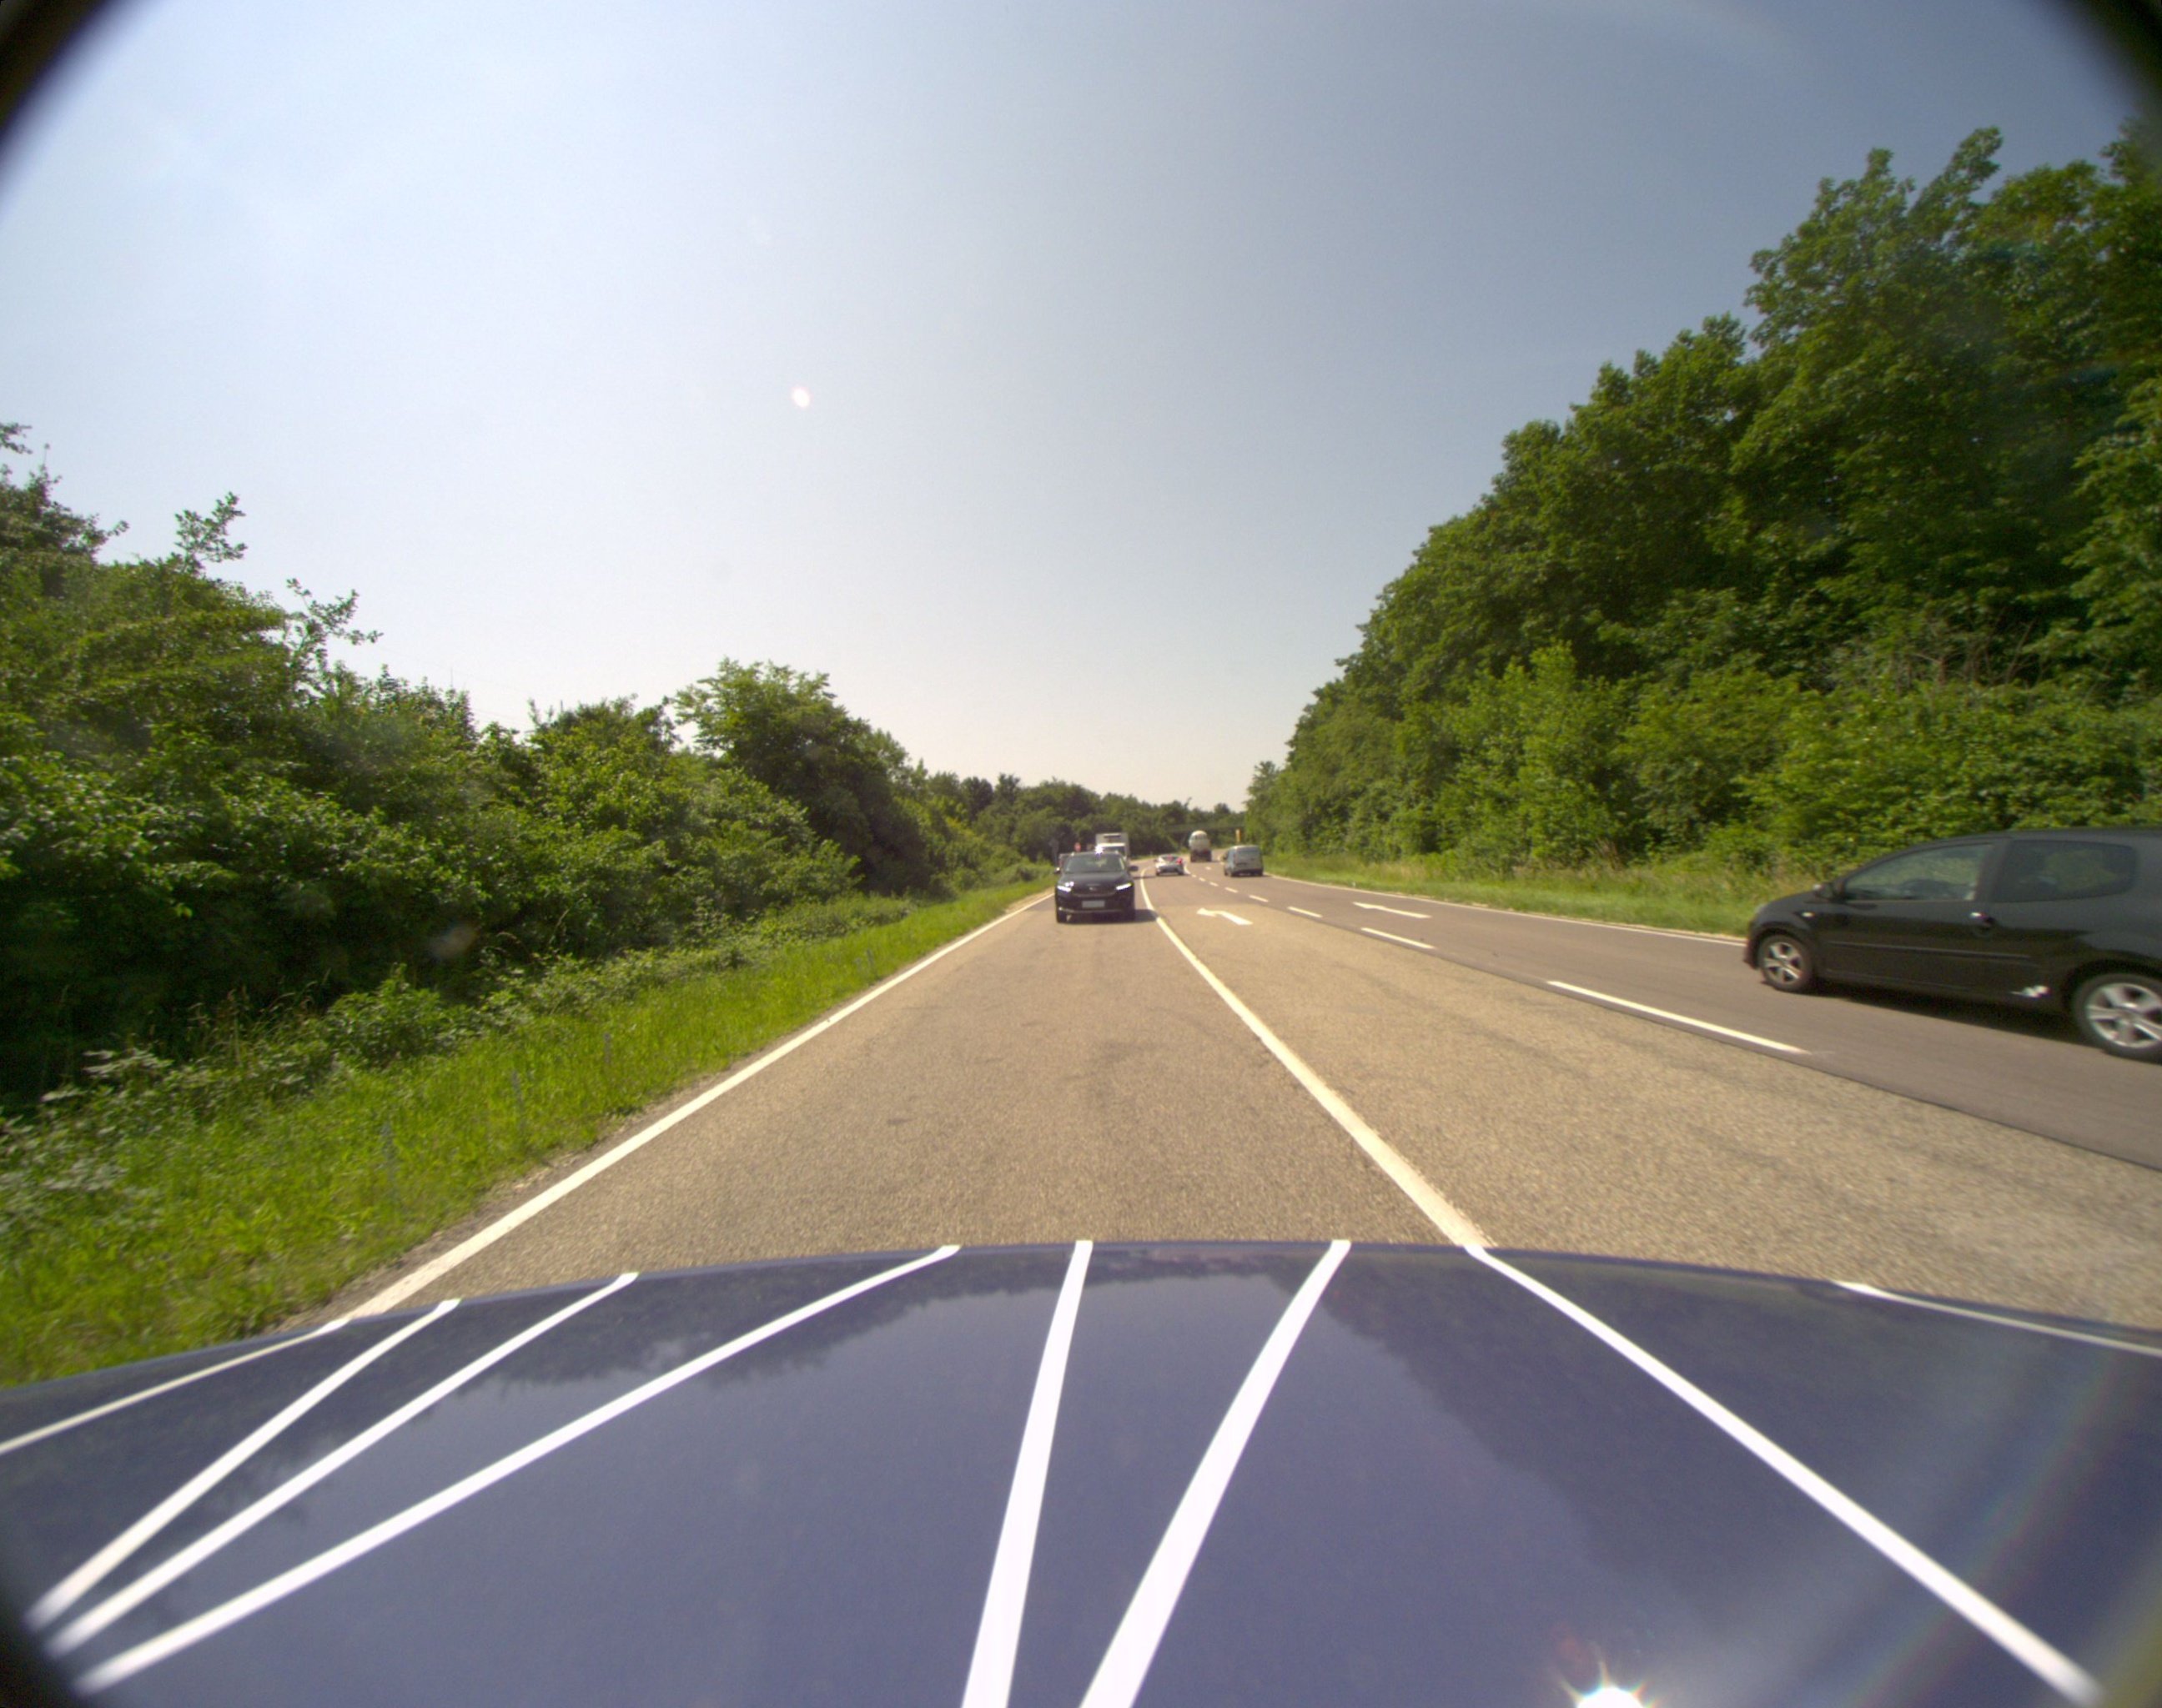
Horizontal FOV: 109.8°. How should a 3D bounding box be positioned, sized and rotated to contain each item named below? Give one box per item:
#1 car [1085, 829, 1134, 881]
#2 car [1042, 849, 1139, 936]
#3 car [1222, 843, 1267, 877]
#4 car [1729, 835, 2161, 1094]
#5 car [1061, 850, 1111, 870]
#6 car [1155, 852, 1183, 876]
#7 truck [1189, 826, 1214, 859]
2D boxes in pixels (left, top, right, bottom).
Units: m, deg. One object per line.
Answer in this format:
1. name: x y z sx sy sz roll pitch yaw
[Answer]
1. car: 1.982 -0.023 49.268 2.590 3.047 6.883 -2 1 6
2. car: 0.285 0.802 18.298 1.924 1.711 5.479 -3 0 2
3. car: 9.544 0.325 44.730 1.846 1.769 4.895 -2 0 4
4. car: 7.209 0.641 5.737 1.618 1.493 3.552 -2 0 1
5. car: 0.574 0.673 85.014 5.230 1.896 2.011 -3 1 -10
6. car: 5.885 0.634 50.962 1.712 1.411 4.099 -3 1 6
7. truck: 14.704 -1.390 92.490 2.632 3.649 8.801 -2 1 10
